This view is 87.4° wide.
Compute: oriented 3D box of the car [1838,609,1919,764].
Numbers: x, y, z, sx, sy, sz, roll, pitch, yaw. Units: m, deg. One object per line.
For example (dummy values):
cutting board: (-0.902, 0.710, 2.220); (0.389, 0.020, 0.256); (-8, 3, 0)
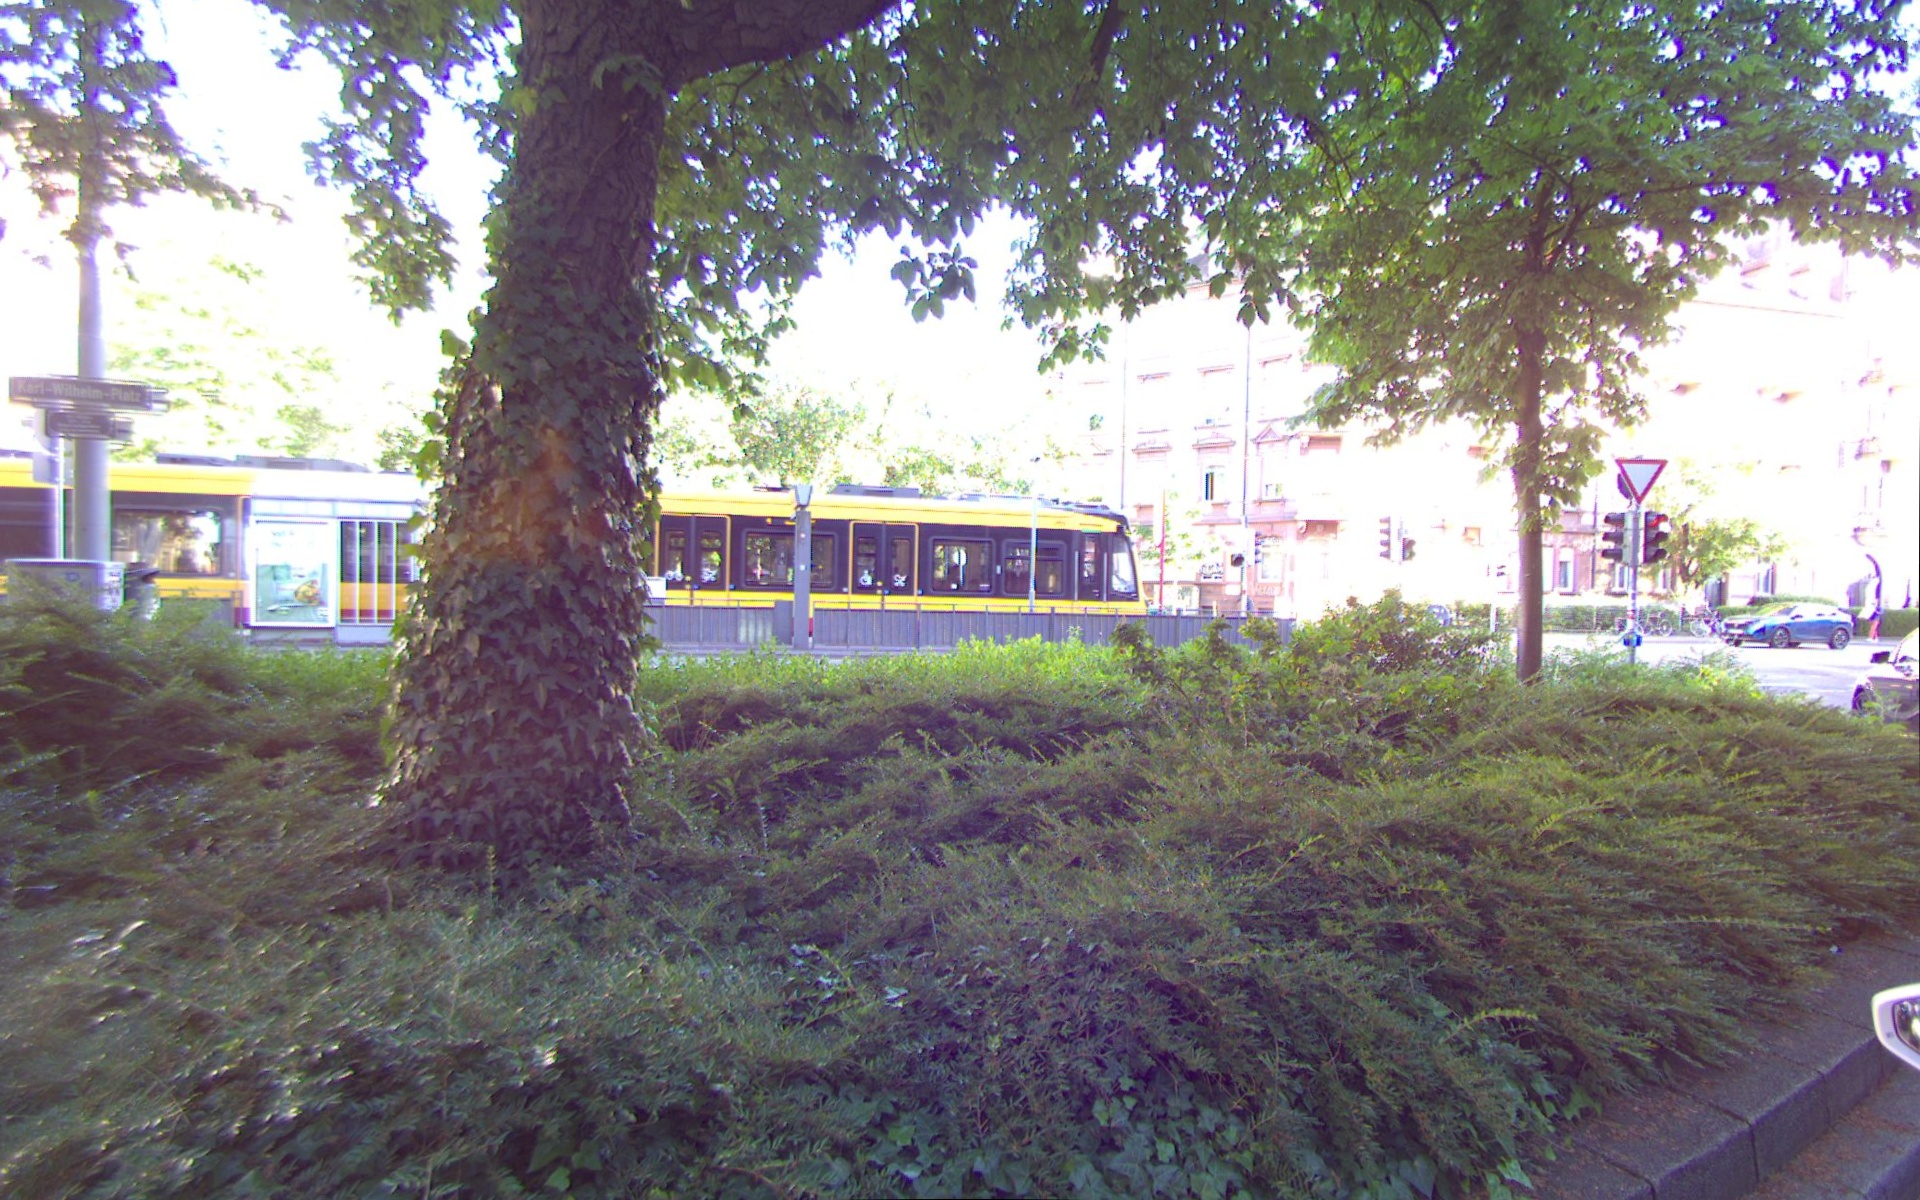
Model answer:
car: (10.760, 0.882, 10.267); (1.762, 1.562, 3.855); (0, 0, 27)

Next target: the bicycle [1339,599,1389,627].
bicycle: (17.572, 0.556, 43.731); (1.928, 1.122, 0.443); (3, 2, 22)

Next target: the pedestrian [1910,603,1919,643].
pedestrian: (41.650, 1.006, 43.332); (0.624, 1.738, 0.664); (1, 1, 1)

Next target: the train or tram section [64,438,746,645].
train or tram section: (-10.786, -1.031, 21.180); (12.206, 3.635, 2.779); (1, 1, -13)

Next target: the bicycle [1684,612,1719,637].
bicycle: (31.580, 1.037, 42.766); (1.211, 1.052, 0.442); (1, 2, -8)

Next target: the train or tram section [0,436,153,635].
train or tram section: (-22.769, -1.329, 18.365); (12.463, 3.605, 2.766); (1, 1, -13)

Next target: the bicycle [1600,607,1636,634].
bicycle: (27.662, 0.857, 42.229); (1.210, 1.122, 0.442); (1, 2, -7)

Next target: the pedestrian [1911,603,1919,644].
pedestrian: (41.200, 1.022, 42.605); (0.880, 1.688, 0.712); (1, 4, 5)

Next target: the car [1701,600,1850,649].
car: (29.895, 0.880, 36.857); (4.333, 1.672, 1.944); (1, 1, -12)

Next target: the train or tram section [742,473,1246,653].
train or tram section: (0.790, -0.736, 23.908); (11.598, 3.668, 2.793); (1, 1, -13)

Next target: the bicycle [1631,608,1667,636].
bicycle: (29.052, 0.926, 42.374); (1.210, 1.122, 0.442); (1, 2, -7)
